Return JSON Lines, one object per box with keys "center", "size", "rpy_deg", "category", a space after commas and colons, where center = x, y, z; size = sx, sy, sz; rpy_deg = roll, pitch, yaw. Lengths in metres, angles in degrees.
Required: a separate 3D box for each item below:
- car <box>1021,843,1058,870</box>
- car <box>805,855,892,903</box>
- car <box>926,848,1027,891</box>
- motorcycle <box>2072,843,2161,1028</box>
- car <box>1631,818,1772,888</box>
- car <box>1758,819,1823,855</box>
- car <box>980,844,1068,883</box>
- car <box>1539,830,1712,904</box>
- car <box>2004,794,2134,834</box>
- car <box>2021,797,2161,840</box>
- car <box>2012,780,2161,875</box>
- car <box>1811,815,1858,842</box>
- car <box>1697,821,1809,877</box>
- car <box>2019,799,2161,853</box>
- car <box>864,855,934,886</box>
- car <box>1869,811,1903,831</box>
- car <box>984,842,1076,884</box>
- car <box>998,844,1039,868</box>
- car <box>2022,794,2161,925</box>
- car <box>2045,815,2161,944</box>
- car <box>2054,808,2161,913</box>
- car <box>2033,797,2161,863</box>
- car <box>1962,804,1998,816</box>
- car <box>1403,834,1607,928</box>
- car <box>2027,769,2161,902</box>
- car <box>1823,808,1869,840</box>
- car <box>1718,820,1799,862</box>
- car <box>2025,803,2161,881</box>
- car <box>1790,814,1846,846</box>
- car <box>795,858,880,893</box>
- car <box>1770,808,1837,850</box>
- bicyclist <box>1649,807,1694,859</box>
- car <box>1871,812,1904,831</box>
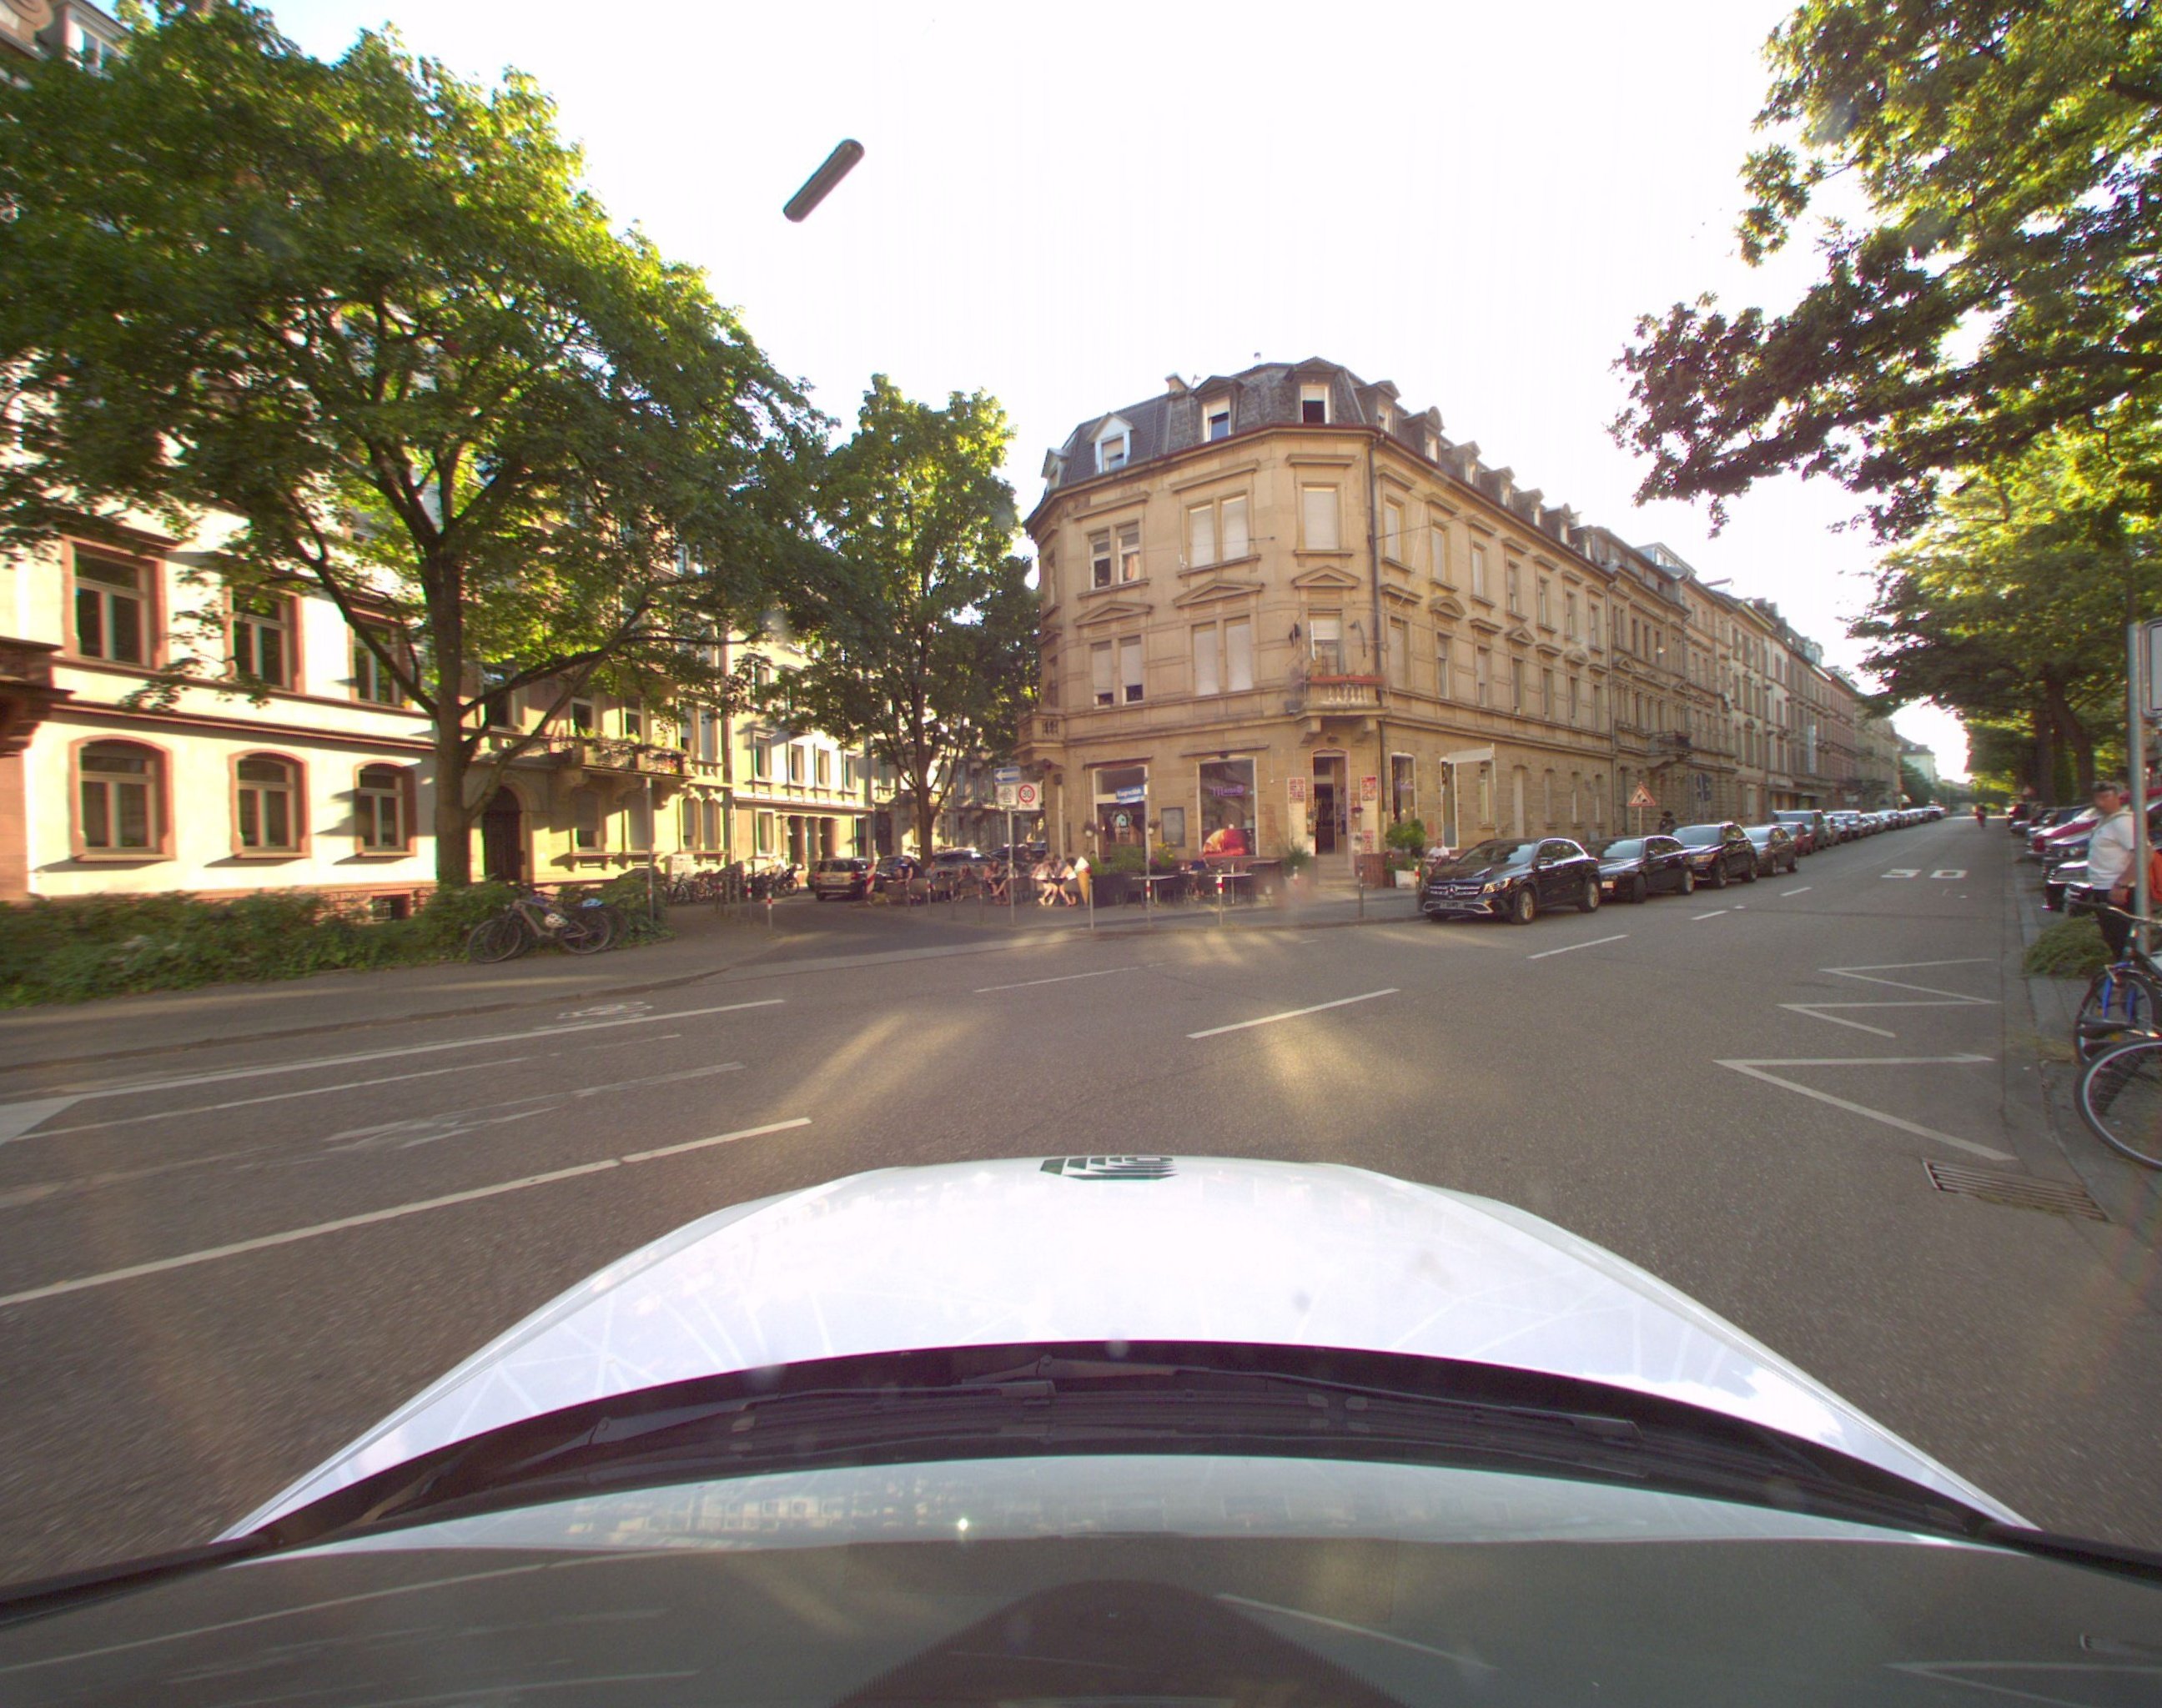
{"center": [-3.330, 0.177, 65.807], "size": [1.793, 2.085, 3.767], "rpy_deg": [-2, 0, 15], "category": "car"}
{"center": [-8.992, 0.922, 31.849], "size": [1.985, 1.684, 4.003], "rpy_deg": [-2, 0, 3], "category": "car"}
{"center": [-4.304, 0.591, 33.448], "size": [3.832, 1.562, 1.793], "rpy_deg": [-2, 0, -17], "category": "car"}
{"center": [7.985, 0.517, 5.287], "size": [0.689, 1.234, 1.881], "rpy_deg": [-2, -2, -40], "category": "motorcycle"}
{"center": [16.515, -0.052, 21.589], "size": [4.571, 1.600, 1.744], "rpy_deg": [-3, 0, -37], "category": "car"}
{"center": [31.371, -0.766, 35.998], "size": [3.718, 1.475, 1.579], "rpy_deg": [-3, 2, -39], "category": "car"}
{"center": [-2.786, 0.459, 39.454], "size": [3.989, 1.684, 1.992], "rpy_deg": [-2, 0, -12], "category": "car"}
{"center": [12.519, 0.254, 18.626], "size": [4.570, 1.451, 1.745], "rpy_deg": [-2, -1, -36], "category": "car"}
{"center": [55.476, -2.209, 45.858], "size": [4.180, 1.795, 1.847], "rpy_deg": [-4, -1, 30], "category": "car"}
{"center": [45.579, -1.573, 36.774], "size": [1.743, 1.607, 3.975], "rpy_deg": [-2, -2, -41], "category": "car"}
{"center": [24.893, -0.664, 18.561], "size": [1.890, 2.033, 4.632], "rpy_deg": [-2, -2, -44], "category": "car"}
{"center": [44.782, -1.539, 48.381], "size": [4.023, 1.467, 1.743], "rpy_deg": [-3, 3, -43], "category": "car"}
{"center": [20.573, -0.171, 24.897], "size": [4.079, 1.501, 1.744], "rpy_deg": [-3, 0, -38], "category": "car"}
{"center": [36.004, -1.005, 28.315], "size": [1.860, 1.556, 4.305], "rpy_deg": [-4, -1, -41], "category": "car"}
{"center": [-9.249, 0.818, 41.741], "size": [1.909, 1.376, 3.767], "rpy_deg": [-2, 0, 15], "category": "car"}
{"center": [65.343, -2.694, 66.099], "size": [4.082, 1.473, 1.743], "rpy_deg": [-3, 0, -43], "category": "car"}
{"center": [-2.268, 0.385, 36.800], "size": [3.976, 1.684, 1.999], "rpy_deg": [-2, 0, -2], "category": "car"}
{"center": [-4.593, 0.117, 60.647], "size": [1.793, 1.684, 3.767], "rpy_deg": [-2, 0, 15], "category": "car"}
{"center": [15.325, -0.010, 10.114], "size": [1.860, 1.679, 4.647], "rpy_deg": [-2, -1, -39], "category": "car"}
{"center": [13.588, 0.188, 8.304], "size": [1.860, 1.413, 4.745], "rpy_deg": [-2, -1, -38], "category": "car"}
{"center": [17.166, 0.054, 11.683], "size": [1.734, 1.534, 4.071], "rpy_deg": [-2, 0, -40], "category": "car"}
{"center": [28.795, -0.687, 21.783], "size": [1.846, 1.628, 4.152], "rpy_deg": [-2, -2, -38], "category": "car"}
{"center": [155.527, -7.664, 140.970], "size": [1.758, 1.859, 3.959], "rpy_deg": [-3, 1, -33], "category": "car"}
{"center": [8.076, 0.443, 15.387], "size": [4.158, 1.488, 1.744], "rpy_deg": [-2, -1, -37], "category": "car"}
{"center": [19.452, -0.359, 13.401], "size": [2.003, 2.215, 4.977], "rpy_deg": [-2, 0, -42], "category": "car"}
{"center": [48.377, -1.913, 51.493], "size": [4.555, 1.842, 1.743], "rpy_deg": [-3, 0, -43], "category": "car"}
{"center": [27.692, -0.543, 33.246], "size": [4.080, 1.501, 1.744], "rpy_deg": [-3, 0, -39], "category": "car"}
{"center": [22.715, -0.314, 16.865], "size": [1.889, 1.510, 4.018], "rpy_deg": [-2, -2, -41], "category": "car"}
{"center": [39.787, -1.290, 43.934], "size": [4.407, 1.608, 1.738], "rpy_deg": [-3, 2, -41], "category": "car"}
{"center": [-10.886, 0.937, 36.724], "size": [1.909, 1.376, 3.767], "rpy_deg": [-2, 0, 15], "category": "car"}
{"center": [35.409, -1.262, 39.880], "size": [5.289, 1.943, 1.816], "rpy_deg": [-3, 2, -41], "category": "car"}
{"center": [21.433, -0.770, 29.567], "size": [1.214, 1.789, 0.987], "rpy_deg": [-4, 1, -40], "category": "bicyclist"}
{"center": [68.787, -2.809, 69.432], "size": [4.082, 1.473, 1.743], "rpy_deg": [-3, 0, -43], "category": "car"}
